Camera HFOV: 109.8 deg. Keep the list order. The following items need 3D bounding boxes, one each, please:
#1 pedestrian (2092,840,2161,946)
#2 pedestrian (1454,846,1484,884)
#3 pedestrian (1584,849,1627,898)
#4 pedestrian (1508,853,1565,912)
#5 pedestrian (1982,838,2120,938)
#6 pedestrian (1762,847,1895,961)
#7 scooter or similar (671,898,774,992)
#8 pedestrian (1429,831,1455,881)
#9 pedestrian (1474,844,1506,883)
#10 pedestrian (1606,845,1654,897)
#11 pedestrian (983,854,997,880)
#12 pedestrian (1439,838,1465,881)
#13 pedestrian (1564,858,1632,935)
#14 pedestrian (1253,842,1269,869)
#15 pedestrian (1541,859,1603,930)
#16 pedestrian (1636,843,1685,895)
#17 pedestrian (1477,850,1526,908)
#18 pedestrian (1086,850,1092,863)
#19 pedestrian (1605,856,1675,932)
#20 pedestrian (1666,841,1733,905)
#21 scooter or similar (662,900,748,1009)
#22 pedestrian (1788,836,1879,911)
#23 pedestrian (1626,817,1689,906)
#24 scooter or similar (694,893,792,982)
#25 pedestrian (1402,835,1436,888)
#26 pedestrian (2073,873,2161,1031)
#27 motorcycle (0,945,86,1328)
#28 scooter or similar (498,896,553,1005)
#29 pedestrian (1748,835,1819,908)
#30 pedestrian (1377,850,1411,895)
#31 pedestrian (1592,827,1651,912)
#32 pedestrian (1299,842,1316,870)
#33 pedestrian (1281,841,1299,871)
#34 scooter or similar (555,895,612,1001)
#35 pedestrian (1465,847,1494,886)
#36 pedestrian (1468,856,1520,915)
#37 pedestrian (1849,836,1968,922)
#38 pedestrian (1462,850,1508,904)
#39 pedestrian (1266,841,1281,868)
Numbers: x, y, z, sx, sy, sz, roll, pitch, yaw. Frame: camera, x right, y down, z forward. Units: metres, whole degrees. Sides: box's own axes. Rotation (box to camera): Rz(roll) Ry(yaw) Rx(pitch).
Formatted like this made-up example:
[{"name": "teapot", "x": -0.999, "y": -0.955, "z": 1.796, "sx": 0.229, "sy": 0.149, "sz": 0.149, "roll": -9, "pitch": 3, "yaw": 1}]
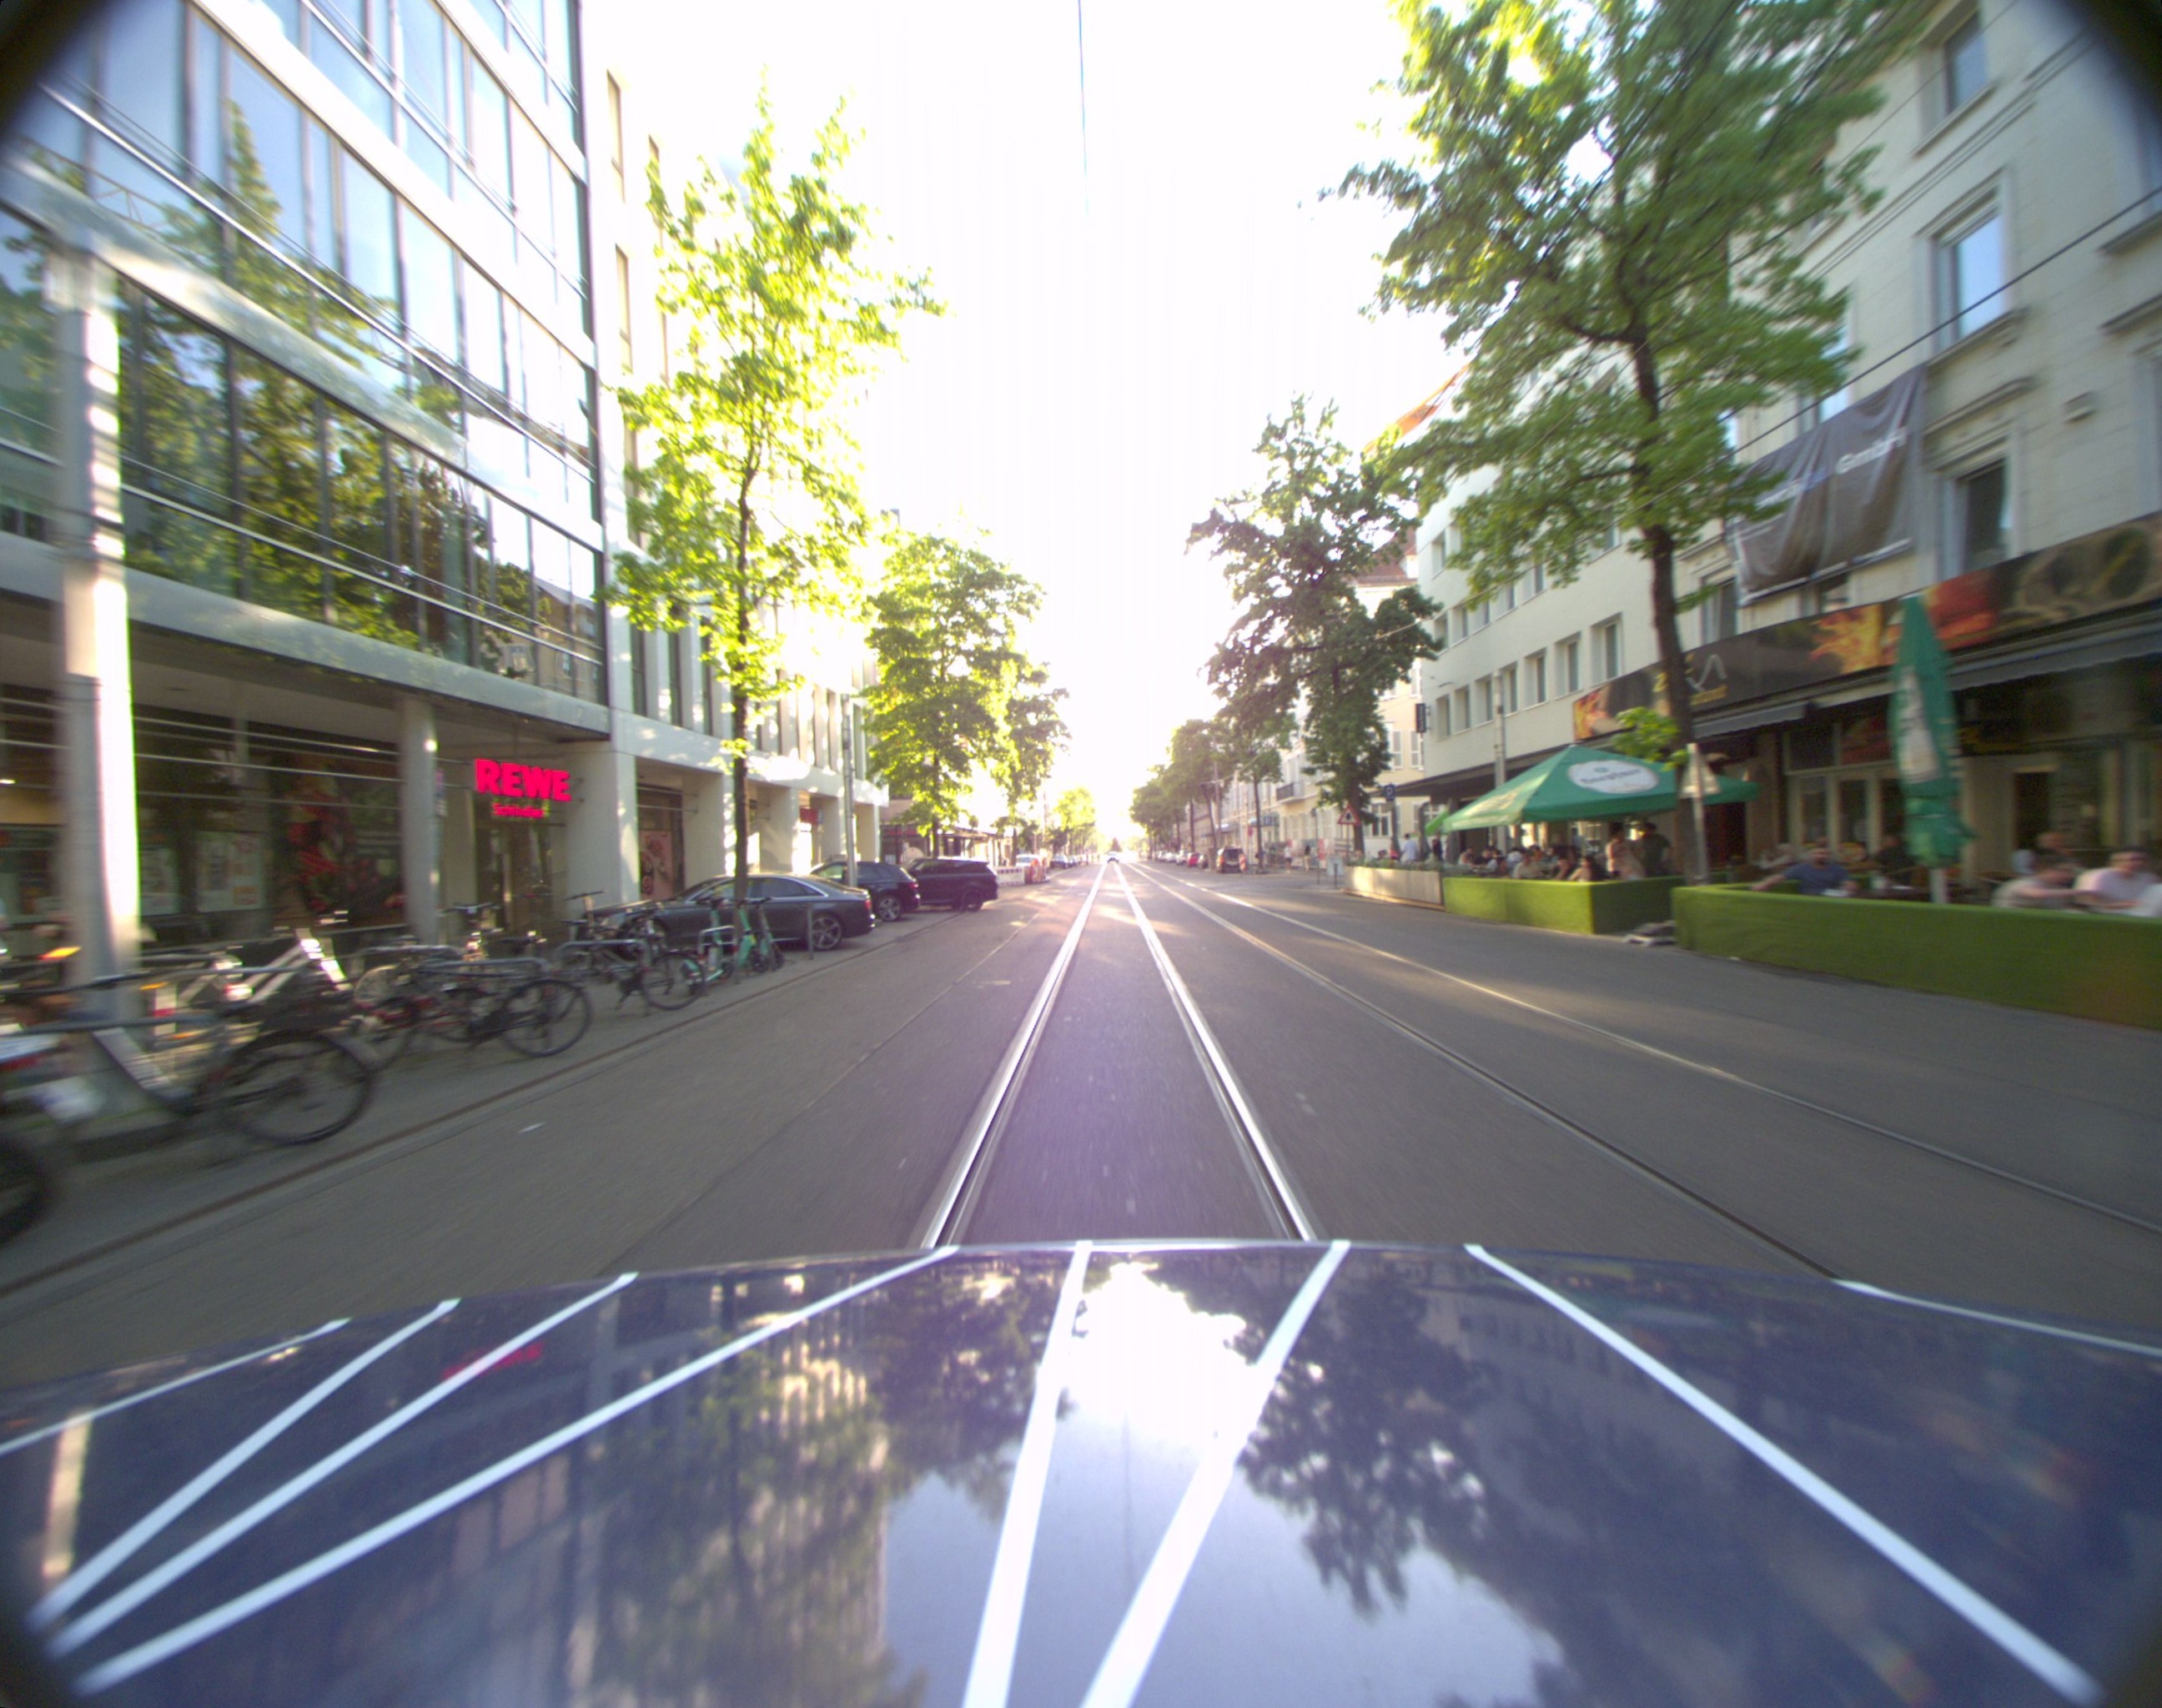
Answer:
[{"name": "pedestrian", "x": 12.702, "y": 0.440, "z": 8.858, "sx": 0.702, "sy": 1.161, "sz": 0.788, "roll": -5, "pitch": 1, "yaw": 2}, {"name": "pedestrian", "x": 13.281, "y": 0.369, "z": 26.010, "sx": 0.628, "sy": 1.274, "sz": 0.727, "roll": -4, "pitch": 1, "yaw": 3}, {"name": "pedestrian", "x": 13.008, "y": 0.467, "z": 18.865, "sx": 0.553, "sy": 1.155, "sz": 0.687, "roll": -4, "pitch": 1, "yaw": 3}, {"name": "pedestrian", "x": 10.182, "y": 0.624, "z": 17.011, "sx": 0.709, "sy": 1.252, "sz": 0.869, "roll": -4, "pitch": 1, "yaw": 5}, {"name": "pedestrian", "x": 12.733, "y": 0.430, "z": 10.001, "sx": 0.738, "sy": 1.207, "sz": 0.788, "roll": -5, "pitch": 1, "yaw": 2}, {"name": "pedestrian", "x": 9.523, "y": 0.608, "z": 9.719, "sx": 0.756, "sy": 1.335, "sz": 0.873, "roll": -5, "pitch": 1, "yaw": 2}, {"name": "scooter or similar", "x": -5.237, "y": 1.296, "z": 11.119, "sx": 1.309, "sy": 1.269, "sz": 0.563, "roll": 1, "pitch": 1, "yaw": -29}, {"name": "pedestrian", "x": 13.321, "y": 0.068, "z": 28.031, "sx": 0.685, "sy": 1.805, "sz": 0.765, "roll": -4, "pitch": 1, "yaw": 18}, {"name": "pedestrian", "x": 13.939, "y": 0.328, "z": 25.905, "sx": 0.646, "sy": 1.262, "sz": 0.739, "roll": -4, "pitch": 1, "yaw": 3}, {"name": "pedestrian", "x": 12.968, "y": 0.400, "z": 17.959, "sx": 0.603, "sy": 1.167, "sz": 0.687, "roll": -4, "pitch": 1, "yaw": 3}, {"name": "pedestrian", "x": -6.687, "y": 0.922, "z": 55.835, "sx": 0.835, "sy": 1.886, "sz": 0.918, "roll": -1, "pitch": 1, "yaw": 5}, {"name": "pedestrian", "x": 15.382, "y": 0.213, "z": 31.535, "sx": 0.864, "sy": 1.730, "sz": 0.799, "roll": -2, "pitch": 0, "yaw": 21}, {"name": "pedestrian", "x": 8.918, "y": 0.714, "z": 13.126, "sx": 0.620, "sy": 1.237, "sz": 0.697, "roll": -5, "pitch": 1, "yaw": 2}, {"name": "pedestrian", "x": 12.705, "y": 0.096, "z": 53.642, "sx": 0.867, "sy": 1.771, "sz": 0.884, "roll": -5, "pitch": 1, "yaw": 2}, {"name": "pedestrian", "x": 9.106, "y": 0.736, "z": 14.119, "sx": 0.620, "sy": 1.237, "sz": 0.697, "roll": -5, "pitch": 1, "yaw": 2}, {"name": "pedestrian", "x": 13.626, "y": 0.347, "z": 17.880, "sx": 0.603, "sy": 1.151, "sz": 0.687, "roll": -4, "pitch": 1, "yaw": 3}, {"name": "pedestrian", "x": 10.132, "y": 0.592, "z": 18.325, "sx": 0.709, "sy": 1.339, "sz": 0.781, "roll": -4, "pitch": 1, "yaw": 5}, {"name": "pedestrian", "x": 1.132, "y": 0.350, "z": 109.327, "sx": 0.705, "sy": 1.858, "sz": 0.792, "roll": -2, "pitch": 1, "yaw": 0}, {"name": "pedestrian", "x": 9.660, "y": 0.674, "z": 13.159, "sx": 0.620, "sy": 1.237, "sz": 0.697, "roll": -5, "pitch": 1, "yaw": 2}, {"name": "pedestrian", "x": 12.685, "y": 0.372, "z": 15.604, "sx": 0.671, "sy": 1.235, "sz": 0.799, "roll": -4, "pitch": 1, "yaw": 2}, {"name": "scooter or similar", "x": -4.992, "y": 1.300, "z": 10.170, "sx": 0.452, "sy": 1.269, "sz": 1.307, "roll": 2, "pitch": 1, "yaw": 1}, {"name": "pedestrian", "x": 13.216, "y": 0.334, "z": 13.373, "sx": 0.738, "sy": 1.224, "sz": 0.788, "roll": -5, "pitch": 1, "yaw": 2}, {"name": "pedestrian", "x": 11.724, "y": 0.150, "z": 15.476, "sx": 0.679, "sy": 1.746, "sz": 0.697, "roll": -4, "pitch": 1, "yaw": 4}, {"name": "scooter or similar", "x": -5.289, "y": 1.273, "z": 11.946, "sx": 0.457, "sy": 1.269, "sz": 1.310, "roll": 3, "pitch": 1, "yaw": 39}, {"name": "pedestrian", "x": 11.772, "y": 0.251, "z": 26.475, "sx": 0.759, "sy": 1.781, "sz": 0.686, "roll": -4, "pitch": 1, "yaw": -1}, {"name": "pedestrian", "x": 8.807, "y": 0.780, "z": 6.063, "sx": 0.658, "sy": 1.186, "sz": 0.798, "roll": -5, "pitch": 1, "yaw": 2}, {"name": "motorcycle", "x": -5.607, "y": 1.213, "z": 2.727, "sx": 2.324, "sy": 1.501, "sz": 0.856, "roll": 0, "pitch": 2, "yaw": -41}, {"name": "scooter or similar", "x": -7.651, "y": 1.270, "z": 10.509, "sx": 0.564, "sy": 1.286, "sz": 1.676, "roll": 0, "pitch": 0, "yaw": -35}, {"name": "pedestrian", "x": 13.221, "y": 0.320, "z": 14.315, "sx": 0.620, "sy": 1.302, "sz": 0.697, "roll": -5, "pitch": 1, "yaw": 2}, {"name": "pedestrian", "x": 10.051, "y": 0.582, "z": 24.413, "sx": 0.691, "sy": 1.378, "sz": 0.807, "roll": -4, "pitch": 1, "yaw": 3}, {"name": "pedestrian", "x": 10.988, "y": 0.313, "z": 15.455, "sx": 0.620, "sy": 1.661, "sz": 0.697, "roll": -4, "pitch": 1, "yaw": 2}, {"name": "pedestrian", "x": 13.630, "y": 0.122, "z": 45.741, "sx": 0.708, "sy": 1.646, "sz": 0.967, "roll": -2, "pitch": 0, "yaw": 4}, {"name": "pedestrian", "x": 12.686, "y": 0.117, "z": 46.194, "sx": 0.776, "sy": 1.782, "sz": 0.984, "roll": -4, "pitch": 1, "yaw": 4}, {"name": "scooter or similar", "x": -7.111, "y": 1.279, "z": 10.824, "sx": 0.633, "sy": 1.286, "sz": 1.676, "roll": 0, "pitch": 0, "yaw": -35}, {"name": "pedestrian", "x": 13.284, "y": 0.407, "z": 25.334, "sx": 0.553, "sy": 1.228, "sz": 0.687, "roll": -4, "pitch": 1, "yaw": 3}, {"name": "pedestrian", "x": 9.307, "y": 0.696, "z": 17.147, "sx": 0.709, "sy": 1.252, "sz": 0.772, "roll": -4, "pitch": 1, "yaw": 5}, {"name": "pedestrian", "x": 13.010, "y": 0.379, "z": 11.978, "sx": 0.779, "sy": 1.230, "sz": 0.945, "roll": -5, "pitch": 1, "yaw": 2}, {"name": "pedestrian", "x": 10.200, "y": 0.560, "z": 19.199, "sx": 0.691, "sy": 1.304, "sz": 0.807, "roll": -4, "pitch": 1, "yaw": 3}, {"name": "pedestrian", "x": 13.547, "y": 0.017, "z": 53.539, "sx": 0.721, "sy": 1.802, "sz": 0.876, "roll": -5, "pitch": 1, "yaw": 2}]
